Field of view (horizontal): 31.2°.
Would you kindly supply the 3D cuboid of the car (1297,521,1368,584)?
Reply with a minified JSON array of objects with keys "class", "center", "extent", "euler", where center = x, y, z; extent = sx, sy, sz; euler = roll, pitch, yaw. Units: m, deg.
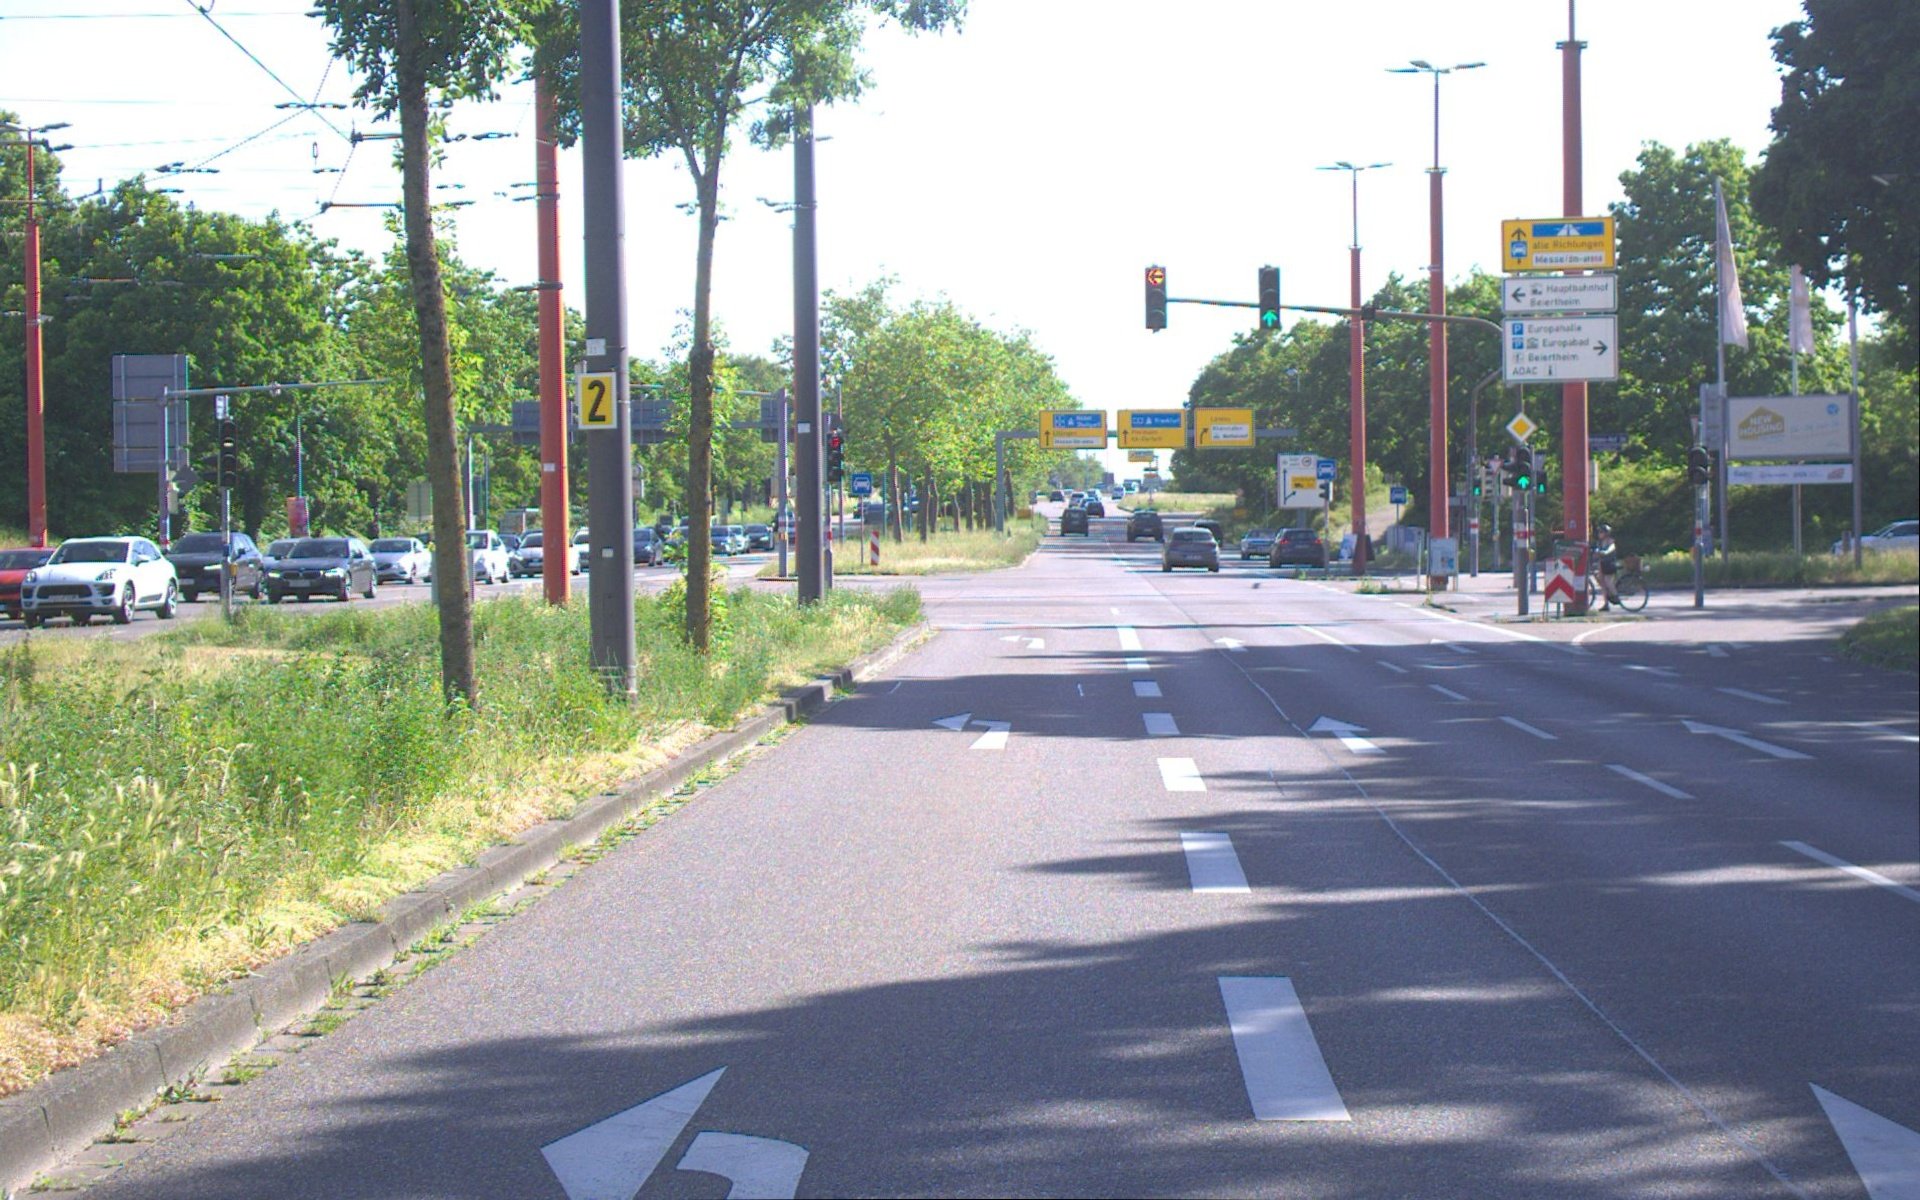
[{"class":"car","center":[11.415,-1.462,105.128],"extent":[1.994,1.881,3.999],"euler":[0,1,8]}]

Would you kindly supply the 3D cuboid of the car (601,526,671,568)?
[{"class":"car","center":[-12.610,-2.092,133.940],"extent":[1.994,1.589,4.463],"euler":[-1,1,4]}]

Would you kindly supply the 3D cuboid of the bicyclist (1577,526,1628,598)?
[{"class":"bicyclist","center":[12.047,-0.721,64.446],"extent":[0.739,1.337,0.708],"euler":[1,1,-8]}]

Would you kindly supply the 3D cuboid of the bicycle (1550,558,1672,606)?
[{"class":"bicycle","center":[12.203,-0.339,64.452],"extent":[2.161,0.875,0.560],"euler":[1,1,-9]}]

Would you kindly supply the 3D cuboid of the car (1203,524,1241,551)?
[{"class":"car","center":[14.672,-3.505,192.706],"extent":[1.994,1.535,4.000],"euler":[0,1,2]}]

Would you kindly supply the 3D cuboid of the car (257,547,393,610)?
[{"class":"car","center":[-14.929,-0.527,81.097],"extent":[1.994,1.404,4.990],"euler":[1,1,3]}]

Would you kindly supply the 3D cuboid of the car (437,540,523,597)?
[{"class":"car","center":[-13.852,-0.923,99.415],"extent":[1.763,1.603,3.757],"euler":[-1,1,3]}]

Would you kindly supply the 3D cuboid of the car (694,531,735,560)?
[{"class":"car","center":[-11.790,-2.633,165.410],"extent":[1.548,1.372,4.262],"euler":[0,1,1]}]

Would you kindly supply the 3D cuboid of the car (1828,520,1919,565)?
[{"class":"car","center":[29.072,-1.769,105.684],"extent":[4.378,1.366,2.060],"euler":[0,1,7]}]

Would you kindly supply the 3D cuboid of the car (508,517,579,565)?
[{"class":"car","center":[-13.739,-1.951,113.522],"extent":[1.589,1.467,4.182],"euler":[-2,2,3]}]

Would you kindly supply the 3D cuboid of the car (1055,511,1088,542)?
[{"class":"car","center":[7.352,-4.838,227.021],"extent":[1.993,2.007,4.000],"euler":[1,1,0]}]

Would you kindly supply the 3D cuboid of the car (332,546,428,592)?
[{"class":"car","center":[-17.914,-0.979,106.377],"extent":[1.994,1.369,4.400],"euler":[1,1,3]}]

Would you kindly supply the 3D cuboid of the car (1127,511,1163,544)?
[{"class":"car","center":[11.292,-4.450,210.096],"extent":[2.154,2.007,4.000],"euler":[0,1,2]}]

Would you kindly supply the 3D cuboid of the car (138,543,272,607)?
[{"class":"car","center":[-18.204,-0.615,83.099],"extent":[1.994,1.476,4.631],"euler":[1,1,3]}]

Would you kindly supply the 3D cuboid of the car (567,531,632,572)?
[{"class":"car","center":[-12.989,-1.761,124.061],"extent":[1.703,1.418,4.643],"euler":[-1,1,2]}]

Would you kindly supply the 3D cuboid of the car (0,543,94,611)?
[{"class":"car","center":[-18.780,-0.480,68.972],"extent":[1.657,1.293,4.177],"euler":[1,1,1]}]

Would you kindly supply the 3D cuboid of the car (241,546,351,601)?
[{"class":"car","center":[-18.138,-0.752,94.092],"extent":[1.993,1.427,4.694],"euler":[-1,1,1]}]

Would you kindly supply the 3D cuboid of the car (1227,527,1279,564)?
[{"class":"car","center":[12.543,-2.318,147.403],"extent":[1.994,1.535,4.000],"euler":[1,1,2]}]

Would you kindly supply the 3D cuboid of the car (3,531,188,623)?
[{"class":"car","center":[-15.962,-0.455,63.713],"extent":[1.895,1.616,4.656],"euler":[1,1,5]}]

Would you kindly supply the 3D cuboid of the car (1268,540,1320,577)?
[{"class":"car","center":[12.267,-1.545,126.431],"extent":[1.738,1.337,3.081],"euler":[0,1,2]}]

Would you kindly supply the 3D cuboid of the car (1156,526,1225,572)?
[{"class":"car","center":[7.617,-1.715,114.077],"extent":[1.993,1.491,4.000],"euler":[0,1,0]}]
